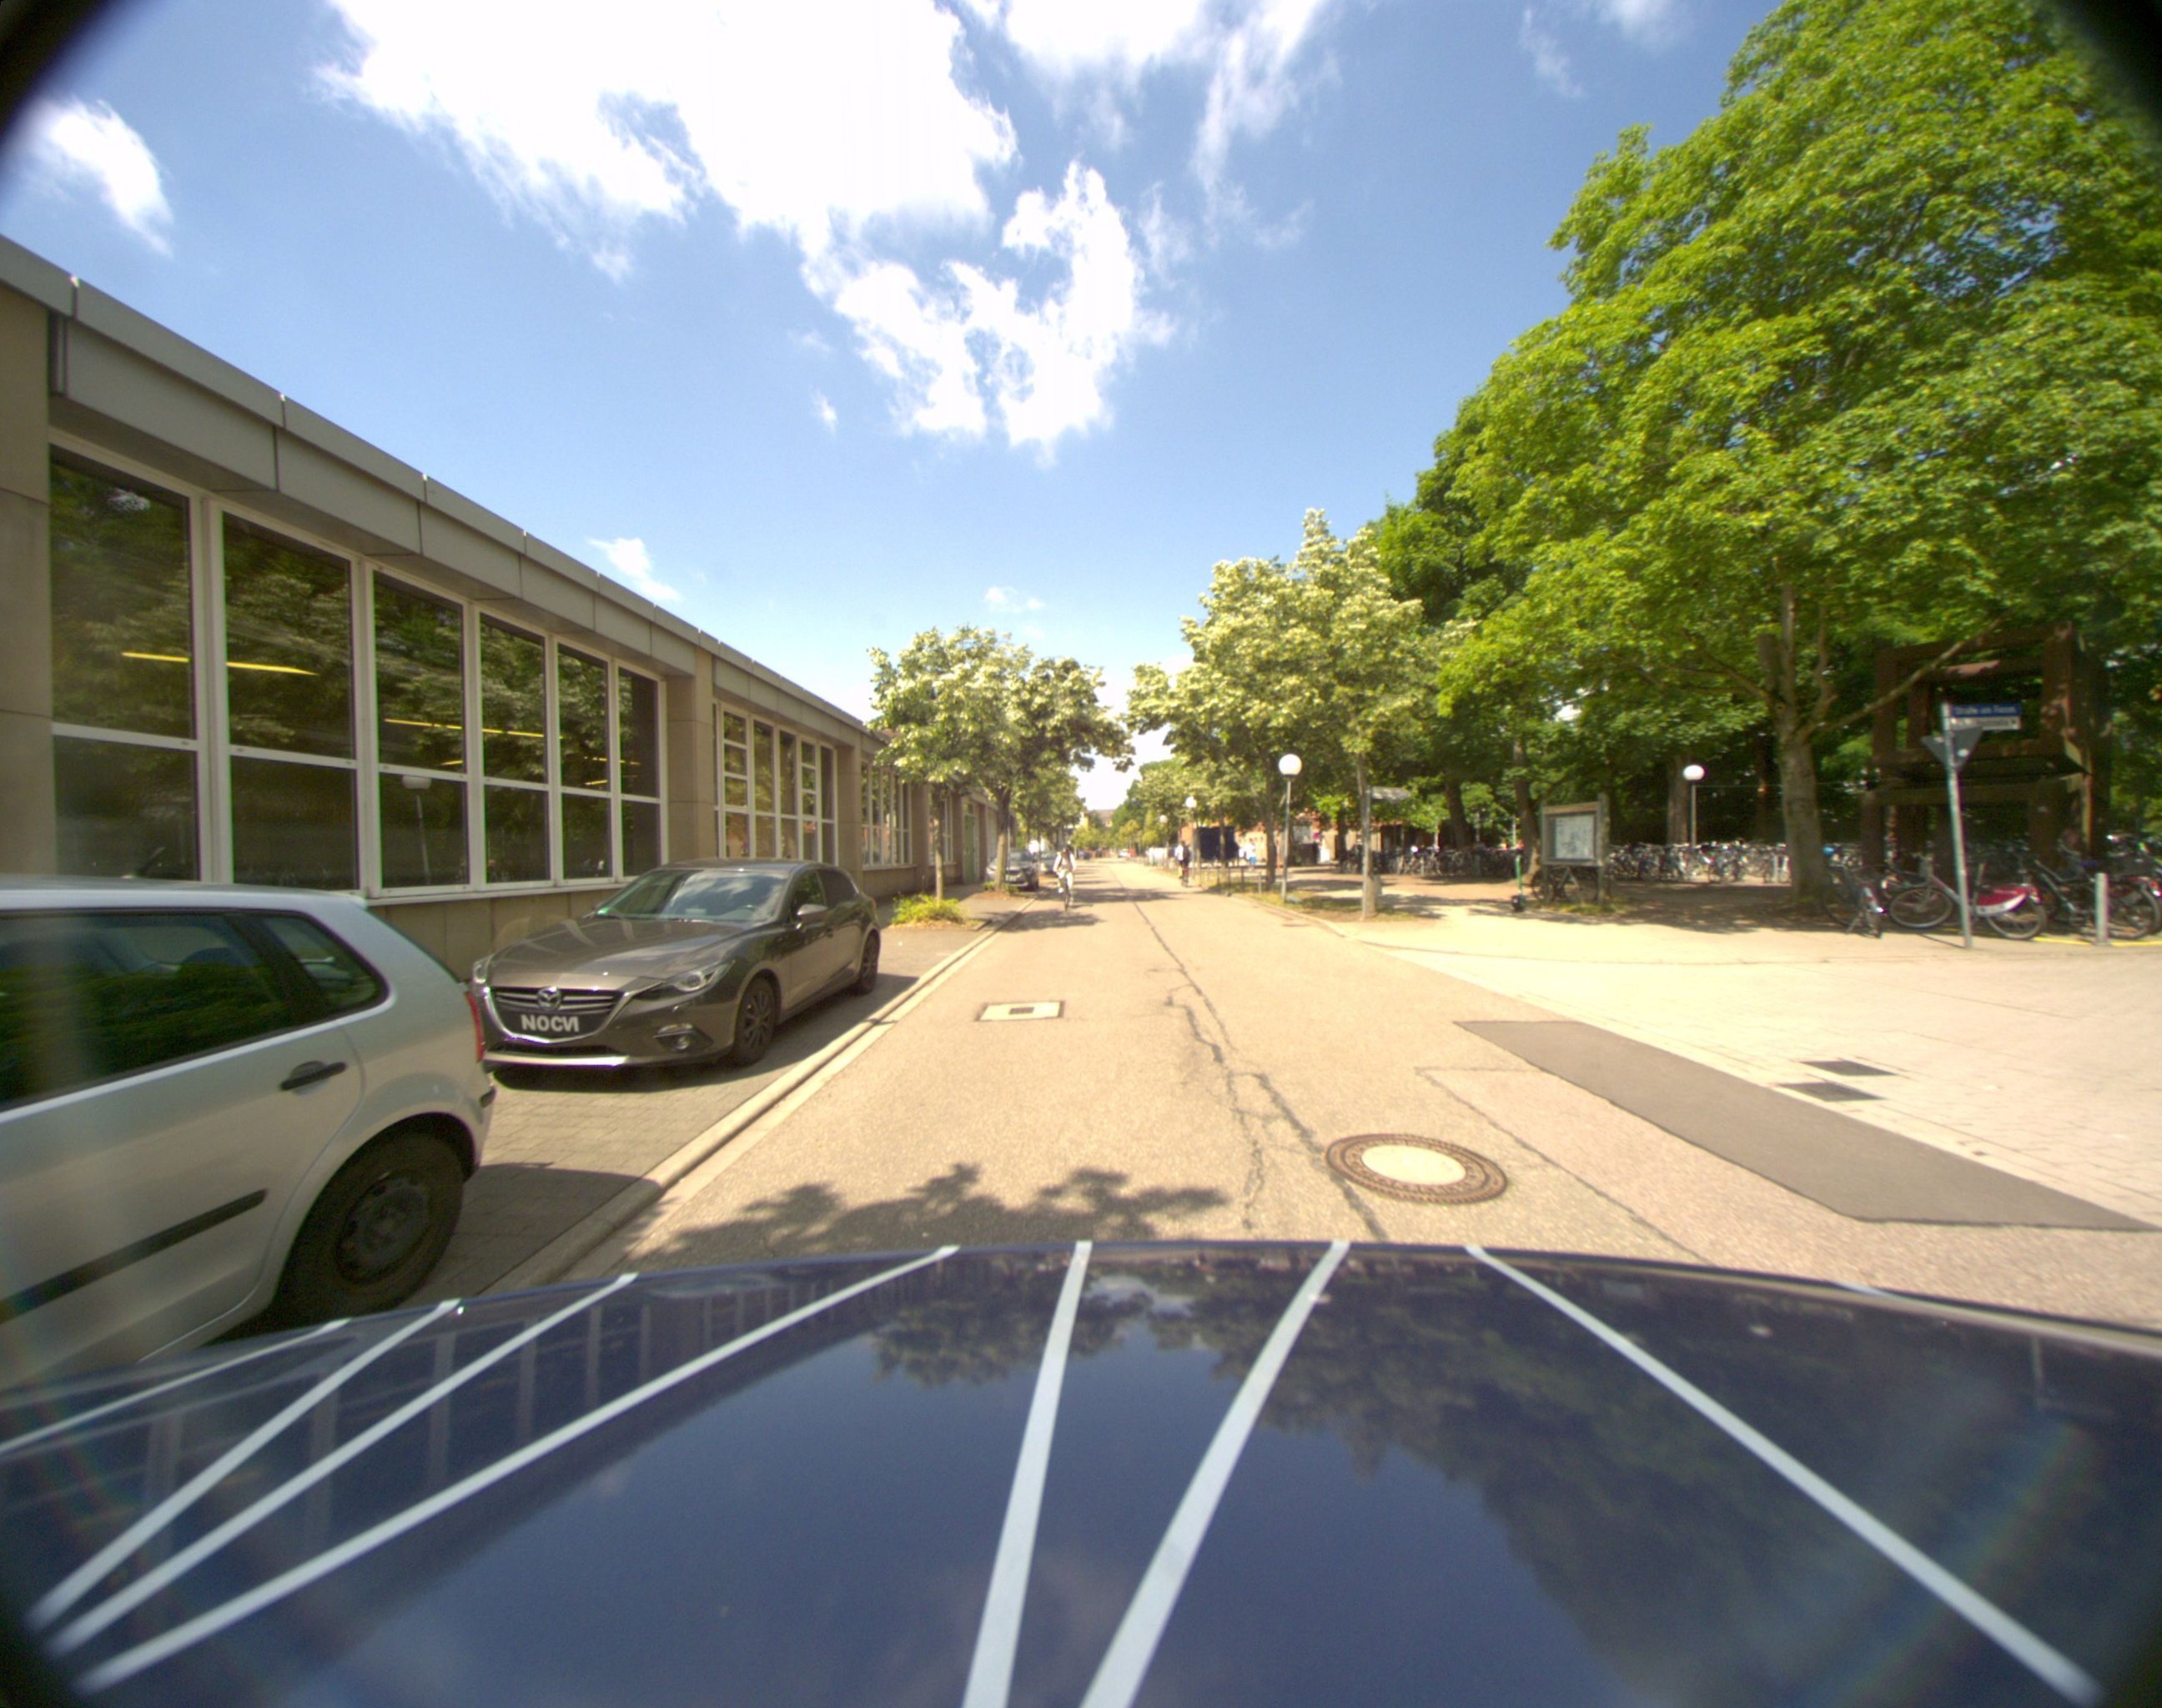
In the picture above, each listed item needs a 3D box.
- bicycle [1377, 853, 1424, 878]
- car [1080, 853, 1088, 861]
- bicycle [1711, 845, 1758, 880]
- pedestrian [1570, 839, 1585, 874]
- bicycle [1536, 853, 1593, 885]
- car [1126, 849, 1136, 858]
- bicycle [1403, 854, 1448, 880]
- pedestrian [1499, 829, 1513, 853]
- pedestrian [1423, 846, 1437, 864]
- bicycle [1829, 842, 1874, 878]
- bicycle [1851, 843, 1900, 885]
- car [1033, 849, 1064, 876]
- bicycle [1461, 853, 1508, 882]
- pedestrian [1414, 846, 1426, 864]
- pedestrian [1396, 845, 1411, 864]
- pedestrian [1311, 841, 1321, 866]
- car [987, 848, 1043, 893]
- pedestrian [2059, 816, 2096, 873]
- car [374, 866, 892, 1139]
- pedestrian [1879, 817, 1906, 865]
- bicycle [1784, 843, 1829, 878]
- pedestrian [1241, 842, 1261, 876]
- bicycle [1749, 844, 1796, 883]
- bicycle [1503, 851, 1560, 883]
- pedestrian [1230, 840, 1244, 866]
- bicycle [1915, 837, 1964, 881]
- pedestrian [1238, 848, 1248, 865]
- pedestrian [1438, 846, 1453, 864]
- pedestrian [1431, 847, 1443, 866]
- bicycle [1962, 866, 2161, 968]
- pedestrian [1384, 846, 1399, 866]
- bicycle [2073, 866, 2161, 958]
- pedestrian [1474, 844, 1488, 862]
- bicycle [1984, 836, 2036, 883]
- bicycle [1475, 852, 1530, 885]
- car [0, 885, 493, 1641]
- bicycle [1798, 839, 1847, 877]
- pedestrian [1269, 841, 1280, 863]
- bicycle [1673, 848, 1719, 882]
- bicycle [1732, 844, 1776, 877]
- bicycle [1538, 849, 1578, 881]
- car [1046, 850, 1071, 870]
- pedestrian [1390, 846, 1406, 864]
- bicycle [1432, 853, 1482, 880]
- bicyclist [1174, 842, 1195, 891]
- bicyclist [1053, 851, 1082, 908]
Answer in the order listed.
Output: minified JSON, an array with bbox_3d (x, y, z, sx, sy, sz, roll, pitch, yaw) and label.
[{"bbox_3d":[13.649,0.475,32.455,2.157,1.002,0.676,-2,1,-30],"label":"bicycle"},{"bbox_3d":[0.557,0.556,145.172,1.552,1.377,3.454,-1,0,0],"label":"car"},{"bbox_3d":[22.300,0.287,25.921,2.064,1.126,0.638,-2,0,-34],"label":"bicycle"},{"bbox_3d":[23.475,0.116,35.903,0.462,1.605,0.350,-2,1,-21],"label":"pedestrian"},{"bbox_3d":[16.939,0.506,26.593,2.789,1.009,0.880,-2,0,-41],"label":"bicycle"},{"bbox_3d":[11.431,-0.069,174.075,1.912,1.870,4.003,-1,0,8],"label":"car"},{"bbox_3d":[14.284,0.518,31.503,1.894,1.002,0.676,-2,1,-28],"label":"bicycle"},{"bbox_3d":[25.746,-0.780,46.020,0.507,1.414,0.460,-2,1,-8],"label":"pedestrian"},{"bbox_3d":[25.587,0.049,55.653,0.689,1.315,0.778,-1,1,3],"label":"pedestrian"},{"bbox_3d":[25.776,0.182,25.401,2.064,1.126,0.638,-2,0,-34],"label":"bicycle"},{"bbox_3d":[23.943,0.292,22.894,2.063,1.126,0.638,-4,1,-34],"label":"bicycle"},{"bbox_3d":[-1.917,0.471,45.518,1.708,1.565,4.140,0,0,0],"label":"car"},{"bbox_3d":[15.486,0.522,29.127,2.656,1.002,0.676,-2,0,-41],"label":"bicycle"},{"bbox_3d":[24.410,0.059,54.694,0.561,1.264,0.693,-2,1,2],"label":"pedestrian"},{"bbox_3d":[22.542,0.043,53.113,0.596,1.226,0.741,-2,-1,-33],"label":"pedestrian"},{"bbox_3d":[17.460,-0.039,56.458,0.530,1.837,0.806,-2,1,2],"label":"pedestrian"},{"bbox_3d":[-2.519,0.590,30.025,1.827,1.654,4.583,0,0,0],"label":"car"},{"bbox_3d":[29.757,-0.272,22.693,0.578,1.661,0.629,-2,1,-34],"label":"pedestrian"},{"bbox_3d":[-3.140,0.893,6.612,1.785,1.468,4.462,0,0,1],"label":"car"},{"bbox_3d":[28.741,-0.457,26.898,0.413,1.704,0.543,-3,1,-29],"label":"pedestrian"},{"bbox_3d":[25.104,0.218,26.283,2.064,1.126,0.638,-2,0,-34],"label":"bicycle"},{"bbox_3d":[9.115,0.269,40.712,0.801,1.820,0.987,-2,0,2],"label":"pedestrian"},{"bbox_3d":[22.830,0.312,25.072,2.063,1.126,0.638,-5,1,-33],"label":"bicycle"},{"bbox_3d":[16.198,0.452,27.297,2.839,1.044,0.880,-2,0,-41],"label":"bicycle"},{"bbox_3d":[12.297,-0.067,59.960,0.919,1.943,0.893,-3,1,11],"label":"pedestrian"},{"bbox_3d":[24.739,0.127,21.881,2.063,1.126,0.638,-5,2,-33],"label":"bicycle"},{"bbox_3d":[14.663,0.206,68.648,0.744,1.500,0.499,-2,1,2],"label":"pedestrian"},{"bbox_3d":[24.745,0.062,51.570,0.570,1.243,0.766,-2,1,-10],"label":"pedestrian"},{"bbox_3d":[25.594,0.175,54.642,0.646,1.315,0.559,-1,1,3],"label":"pedestrian"},{"bbox_3d":[12.390,0.720,9.463,0.553,1.080,1.973,-3,0,2],"label":"bicycle"},{"bbox_3d":[21.960,0.119,53.690,0.596,1.361,0.741,-2,-1,-33],"label":"pedestrian"},{"bbox_3d":[13.498,0.717,9.138,0.553,1.080,1.973,-3,0,2],"label":"bicycle"},{"bbox_3d":[25.937,-0.055,49.289,0.392,1.187,0.730,-2,1,-8],"label":"pedestrian"},{"bbox_3d":[25.436,0.142,20.793,2.063,1.126,0.673,-5,2,-33],"label":"bicycle"},{"bbox_3d":[15.620,0.525,28.125,2.757,1.080,0.880,-2,0,-41],"label":"bicycle"},{"bbox_3d":[-3.120,0.913,1.004,1.620,1.530,3.780,-1,0,2],"label":"car"},{"bbox_3d":[23.102,0.119,23.655,2.064,1.126,0.638,-2,0,-34],"label":"bicycle"},{"bbox_3d":[14.745,-0.169,58.013,0.632,1.656,0.643,-2,1,2],"label":"pedestrian"},{"bbox_3d":[21.686,0.369,26.776,2.064,1.126,0.638,-1,0,-34],"label":"bicycle"},{"bbox_3d":[24.321,0.230,27.450,2.064,1.126,0.638,-2,0,-34],"label":"bicycle"},{"bbox_3d":[18.870,0.435,30.062,2.063,1.126,0.478,-5,2,-34],"label":"bicycle"},{"bbox_3d":[-1.640,0.448,57.137,1.730,1.458,4.671,0,0,0],"label":"car"},{"bbox_3d":[22.014,0.064,52.775,0.596,1.226,0.741,-2,-1,-33],"label":"pedestrian"},{"bbox_3d":[15.078,0.499,30.458,2.157,1.002,0.676,-2,1,-29],"label":"bicycle"},{"bbox_3d":[4.283,0.491,31.578,0.713,2.002,1.019,0,1,-1],"label":"bicyclist"},{"bbox_3d":[-0.366,0.677,20.802,0.675,1.470,1.062,-1,2,3],"label":"bicyclist"}]
